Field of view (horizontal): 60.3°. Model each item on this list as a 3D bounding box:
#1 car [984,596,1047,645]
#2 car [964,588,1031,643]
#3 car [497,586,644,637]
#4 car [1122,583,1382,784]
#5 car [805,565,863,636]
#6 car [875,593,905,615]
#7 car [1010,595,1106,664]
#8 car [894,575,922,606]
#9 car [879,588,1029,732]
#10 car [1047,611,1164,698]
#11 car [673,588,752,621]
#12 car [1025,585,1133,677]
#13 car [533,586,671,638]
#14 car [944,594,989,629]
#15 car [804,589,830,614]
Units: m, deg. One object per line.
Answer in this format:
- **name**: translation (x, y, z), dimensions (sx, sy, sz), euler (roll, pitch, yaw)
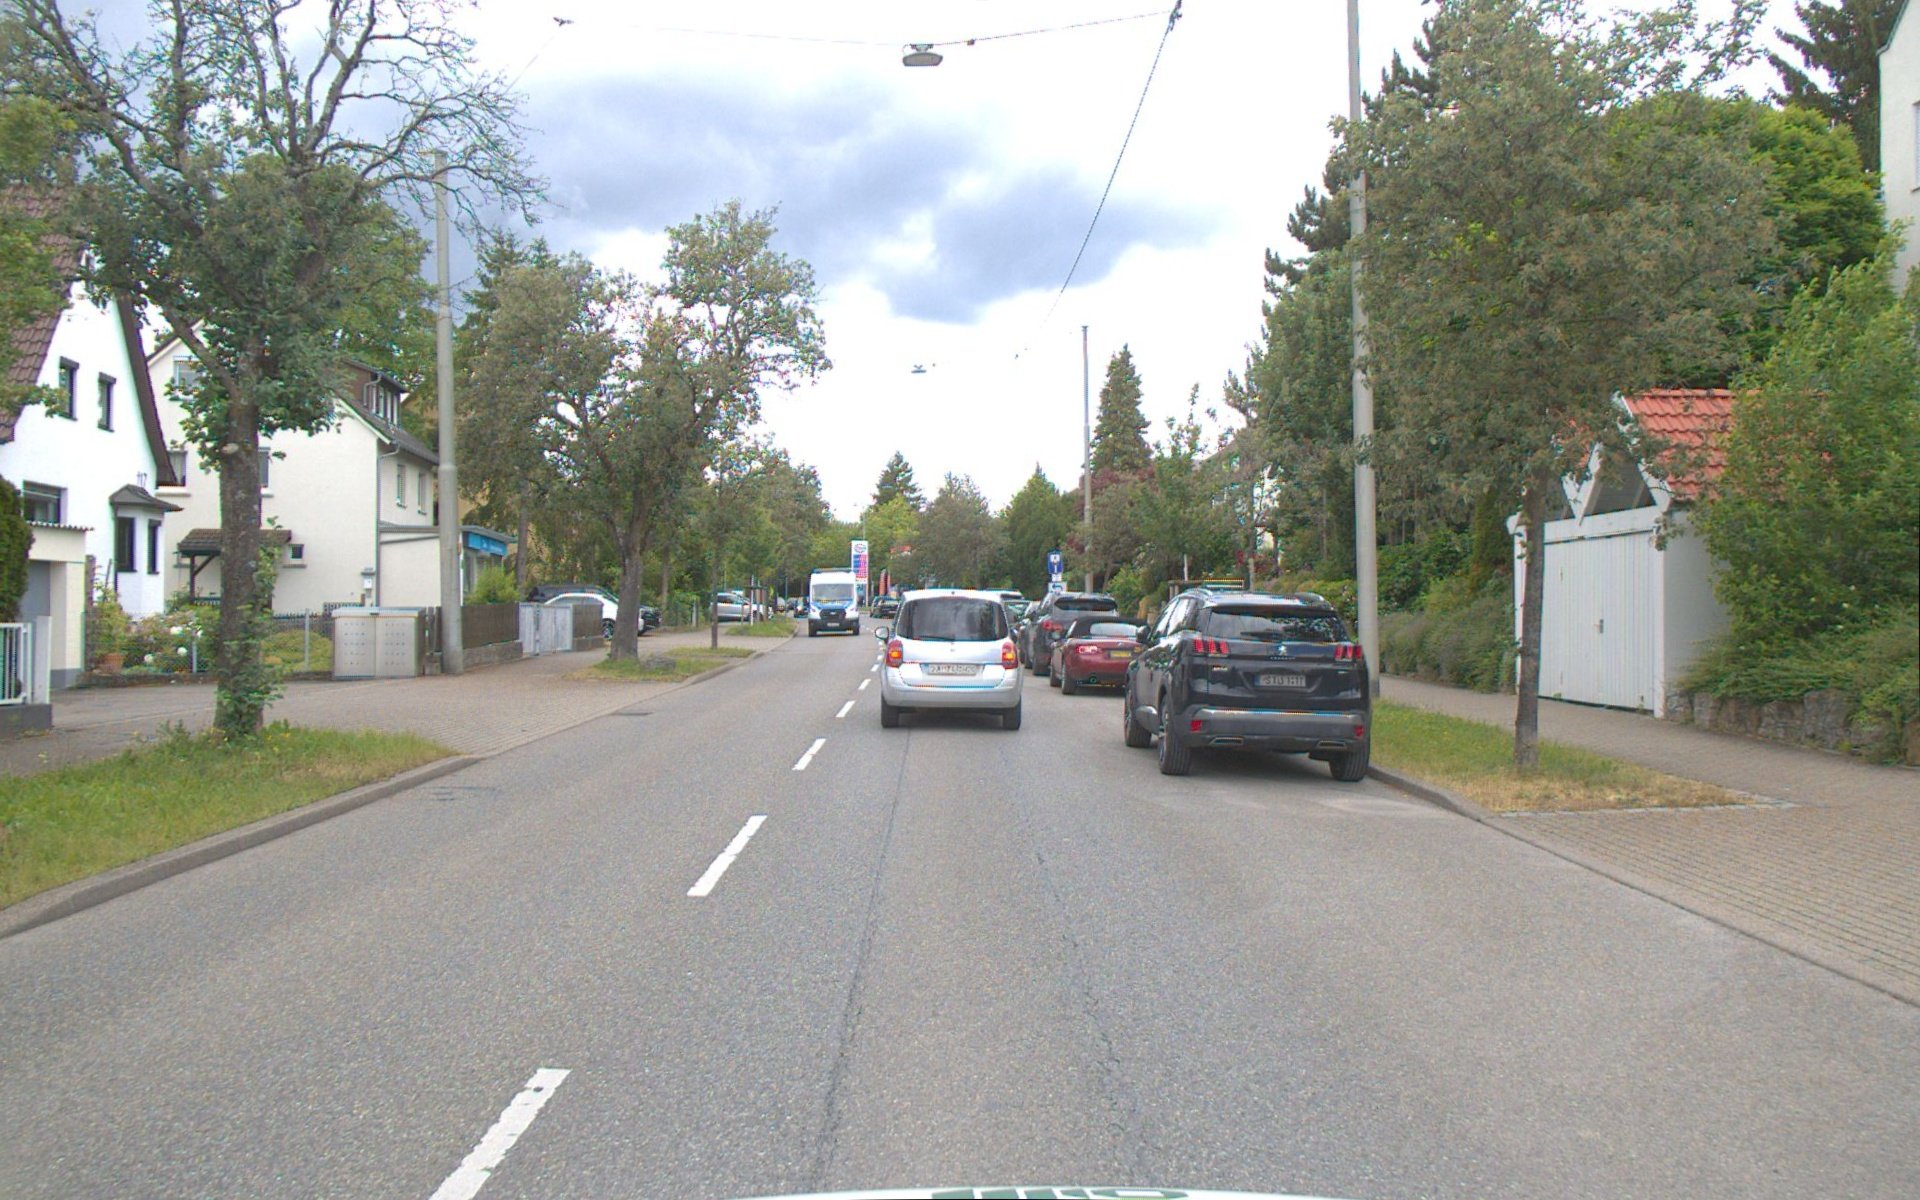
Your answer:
- **car**: translation (1.731, 0.634, 52.734), dimensions (1.528, 1.468, 3.502), euler (1, 0, -6)
- **car**: translation (1.274, 0.510, 57.923), dimensions (1.764, 1.809, 4.700), euler (2, 0, -5)
- **car**: translation (-11.898, 0.357, 50.737), dimensions (4.198, 1.392, 1.813), euler (2, -1, -8)
- **car**: translation (2.640, 0.700, 15.859), dimensions (1.654, 1.637, 4.108), euler (2, 0, -1)
- **car**: translation (-4.941, 0.013, 65.612), dimensions (2.032, 2.627, 5.297), euler (-2, 0, -2)
- **car**: translation (-5.029, 0.304, 118.844), dimensions (1.664, 1.532, 3.963), euler (0, 0, -10)
- **car**: translation (2.250, 0.645, 38.990), dimensions (1.793, 1.482, 4.548), euler (2, 0, -2)
- **car**: translation (-5.245, -0.952, 164.914), dimensions (2.238, 2.962, 5.271), euler (2, 0, -7)
- **car**: translation (-0.084, 0.659, 20.102), dimensions (1.645, 1.587, 3.511), euler (1, 0, -1)
- **car**: translation (2.346, 0.855, 27.491), dimensions (1.451, 1.257, 3.883), euler (2, 0, -2)
- **car**: translation (-13.184, 0.223, 88.324), dimensions (4.005, 1.736, 1.746), euler (0, 0, -4)
- **car**: translation (2.377, 0.594, 34.089), dimensions (1.793, 1.742, 4.548), euler (1, 0, -1)
- **car**: translation (-12.181, 0.409, 56.499), dimensions (4.245, 1.646, 1.973), euler (1, -1, -1)
- **car**: translation (0.263, 0.490, 73.097), dimensions (1.595, 1.477, 3.871), euler (0, 0, -6)
- **car**: translation (-10.612, 0.109, 122.638), dimensions (1.800, 1.743, 3.995), euler (-1, 0, -6)
